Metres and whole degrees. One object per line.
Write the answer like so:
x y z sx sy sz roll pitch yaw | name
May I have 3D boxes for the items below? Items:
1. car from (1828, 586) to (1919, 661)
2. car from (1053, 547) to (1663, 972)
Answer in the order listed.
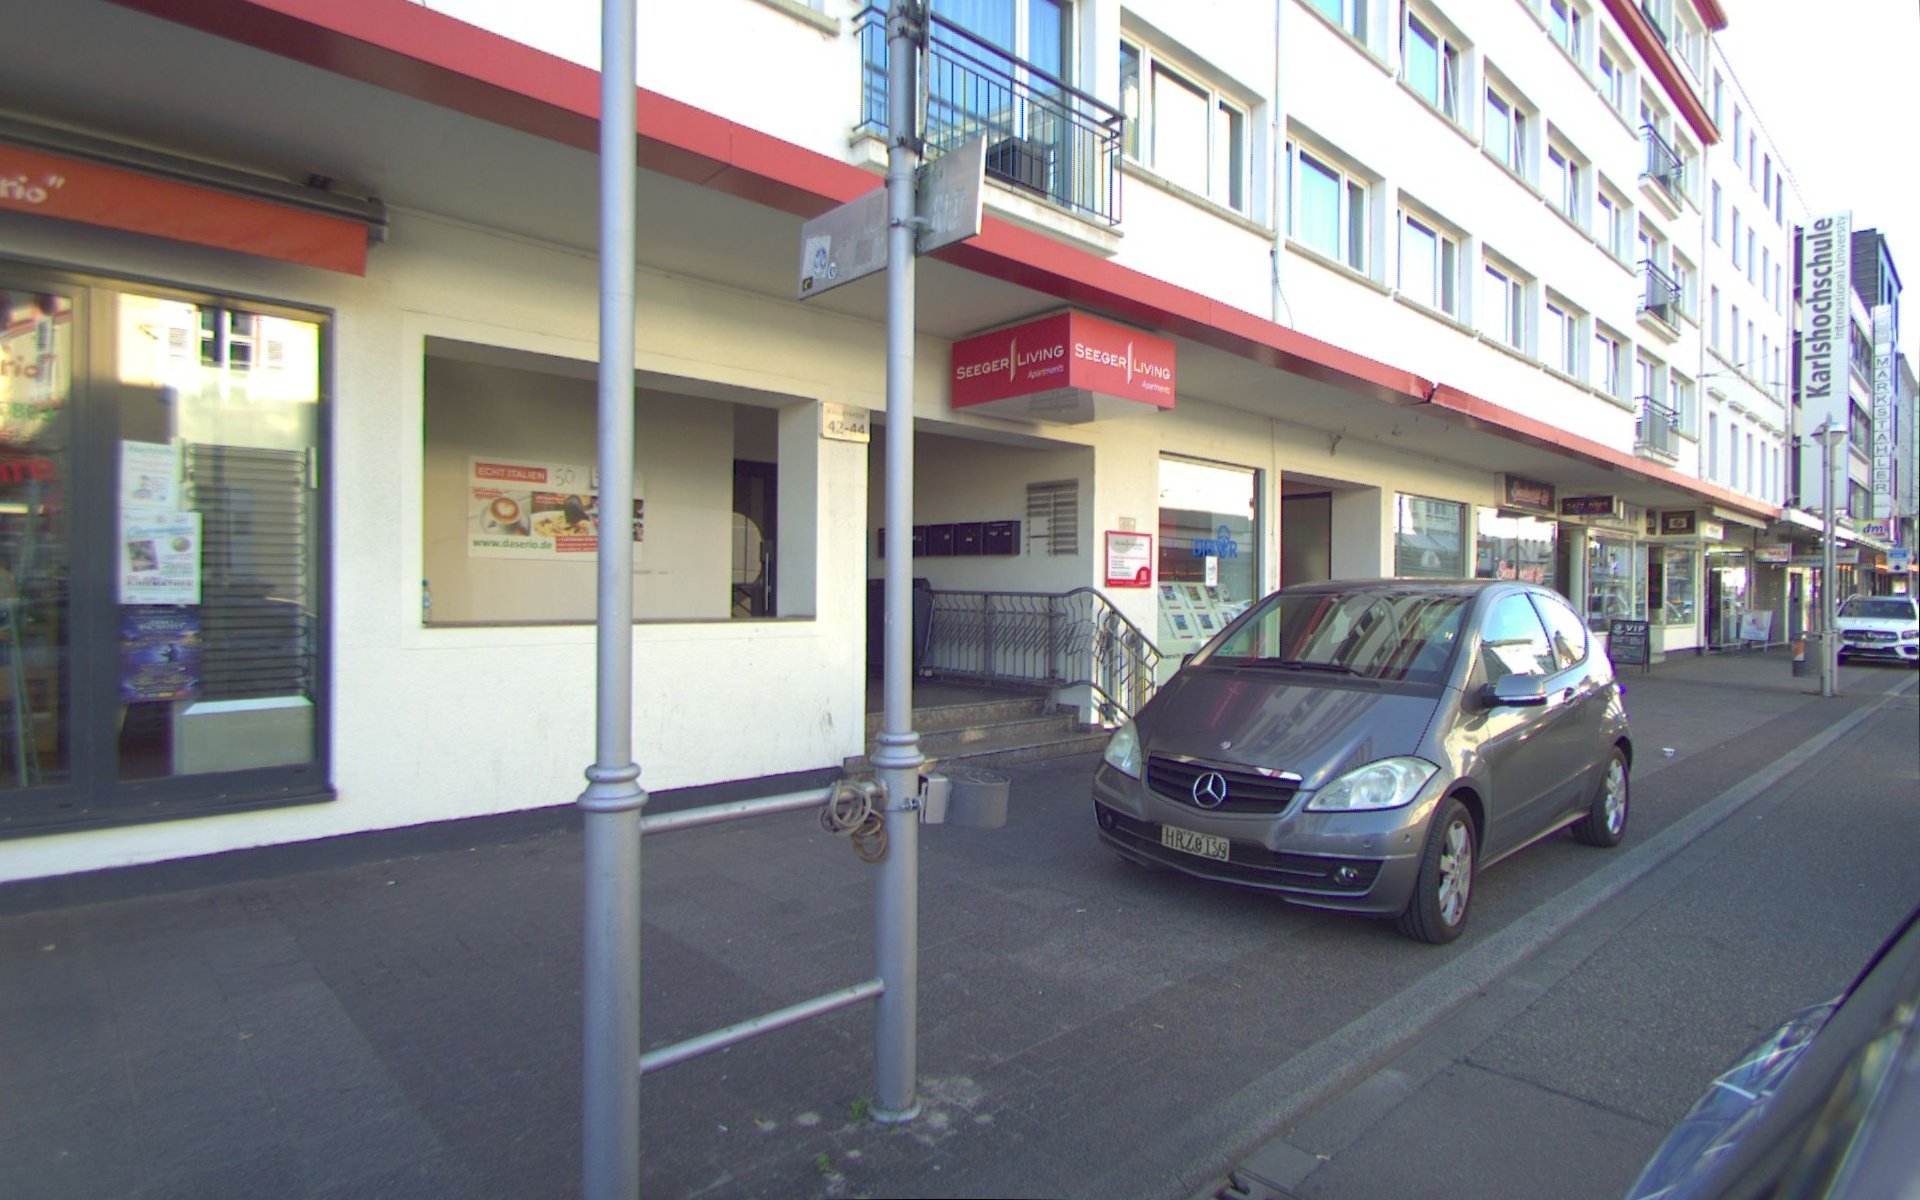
22.396 0.521 24.355 1.994 1.650 3.935 1 1 45 | car
2.460 0.588 5.700 3.932 1.565 1.681 0 0 -43 | car
